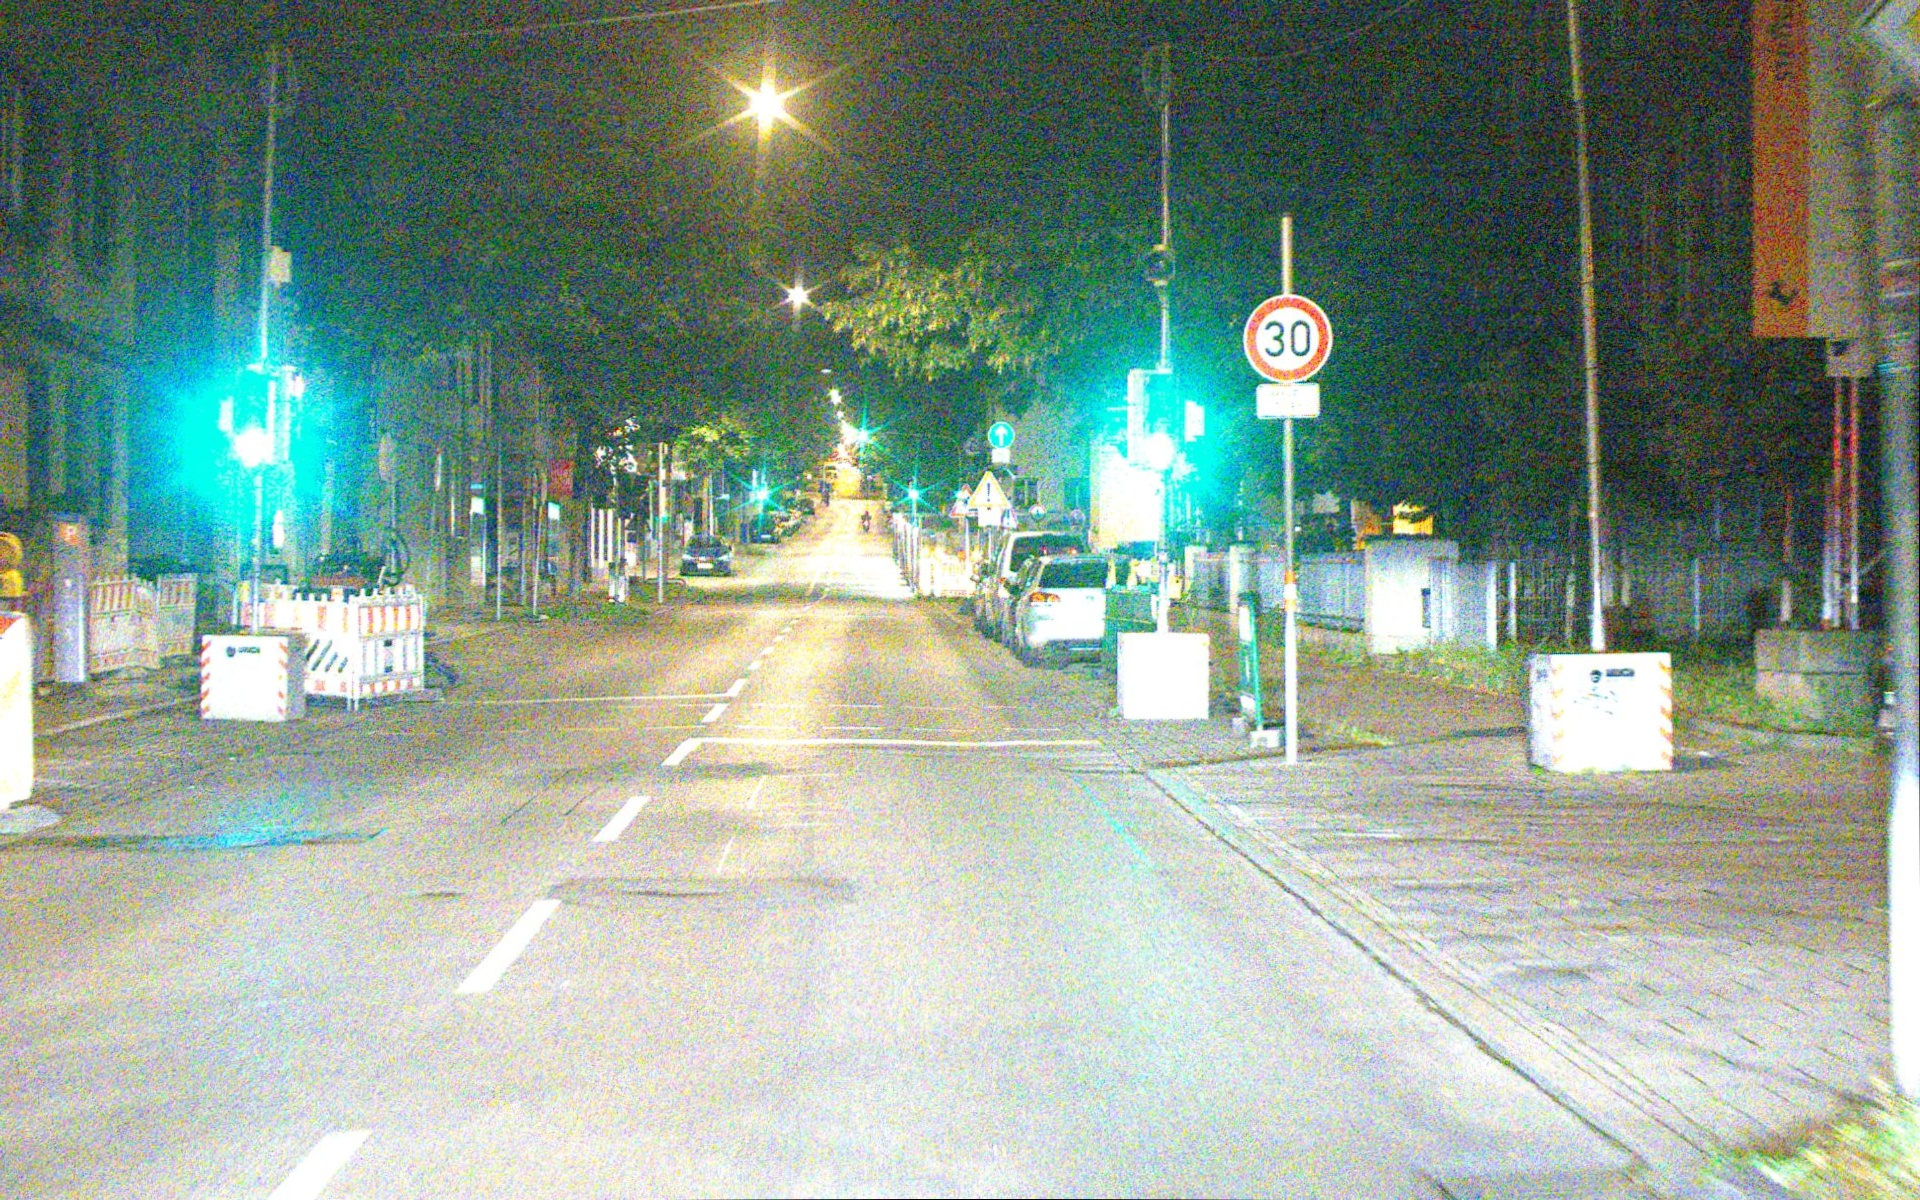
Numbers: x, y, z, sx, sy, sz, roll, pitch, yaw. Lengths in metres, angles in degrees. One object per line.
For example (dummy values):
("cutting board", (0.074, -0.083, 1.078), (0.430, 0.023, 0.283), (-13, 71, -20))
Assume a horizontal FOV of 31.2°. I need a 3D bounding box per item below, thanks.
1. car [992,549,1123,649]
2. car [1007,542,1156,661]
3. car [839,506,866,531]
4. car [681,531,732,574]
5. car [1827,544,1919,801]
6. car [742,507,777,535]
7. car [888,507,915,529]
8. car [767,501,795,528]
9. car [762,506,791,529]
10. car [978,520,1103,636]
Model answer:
("car", (1.412, -0.047, 51.222), (1.686, 1.416, 4.444), (0, 1, -2))
("car", (1.586, -0.012, 46.074), (1.739, 1.472, 4.000), (-2, 1, -1))
("car", (-7.978, -6.069, 254.864), (1.873, 1.808, 4.205), (1, 2, -1))
("car", (-9.147, -1.728, 124.273), (1.671, 1.438, 4.205), (1, 2, -2))
("car", (7.248, 0.423, 19.772), (4.014, 1.417, 1.852), (0, -1, -3))
("car", (-11.421, -4.499, 196.293), (1.873, 1.539, 4.205), (1, 2, -2))
("car", (-4.188, -5.861, 246.760), (1.873, 1.539, 4.205), (1, 2, -2))
("car", (-12.460, -5.998, 239.545), (1.873, 1.808, 4.205), (1, 2, -2))
("car", (-12.479, -5.619, 233.657), (1.873, 1.539, 4.205), (1, 2, -2))
("car", (1.296, -0.395, 57.154), (1.735, 1.849, 4.317), (0, 1, -3))
